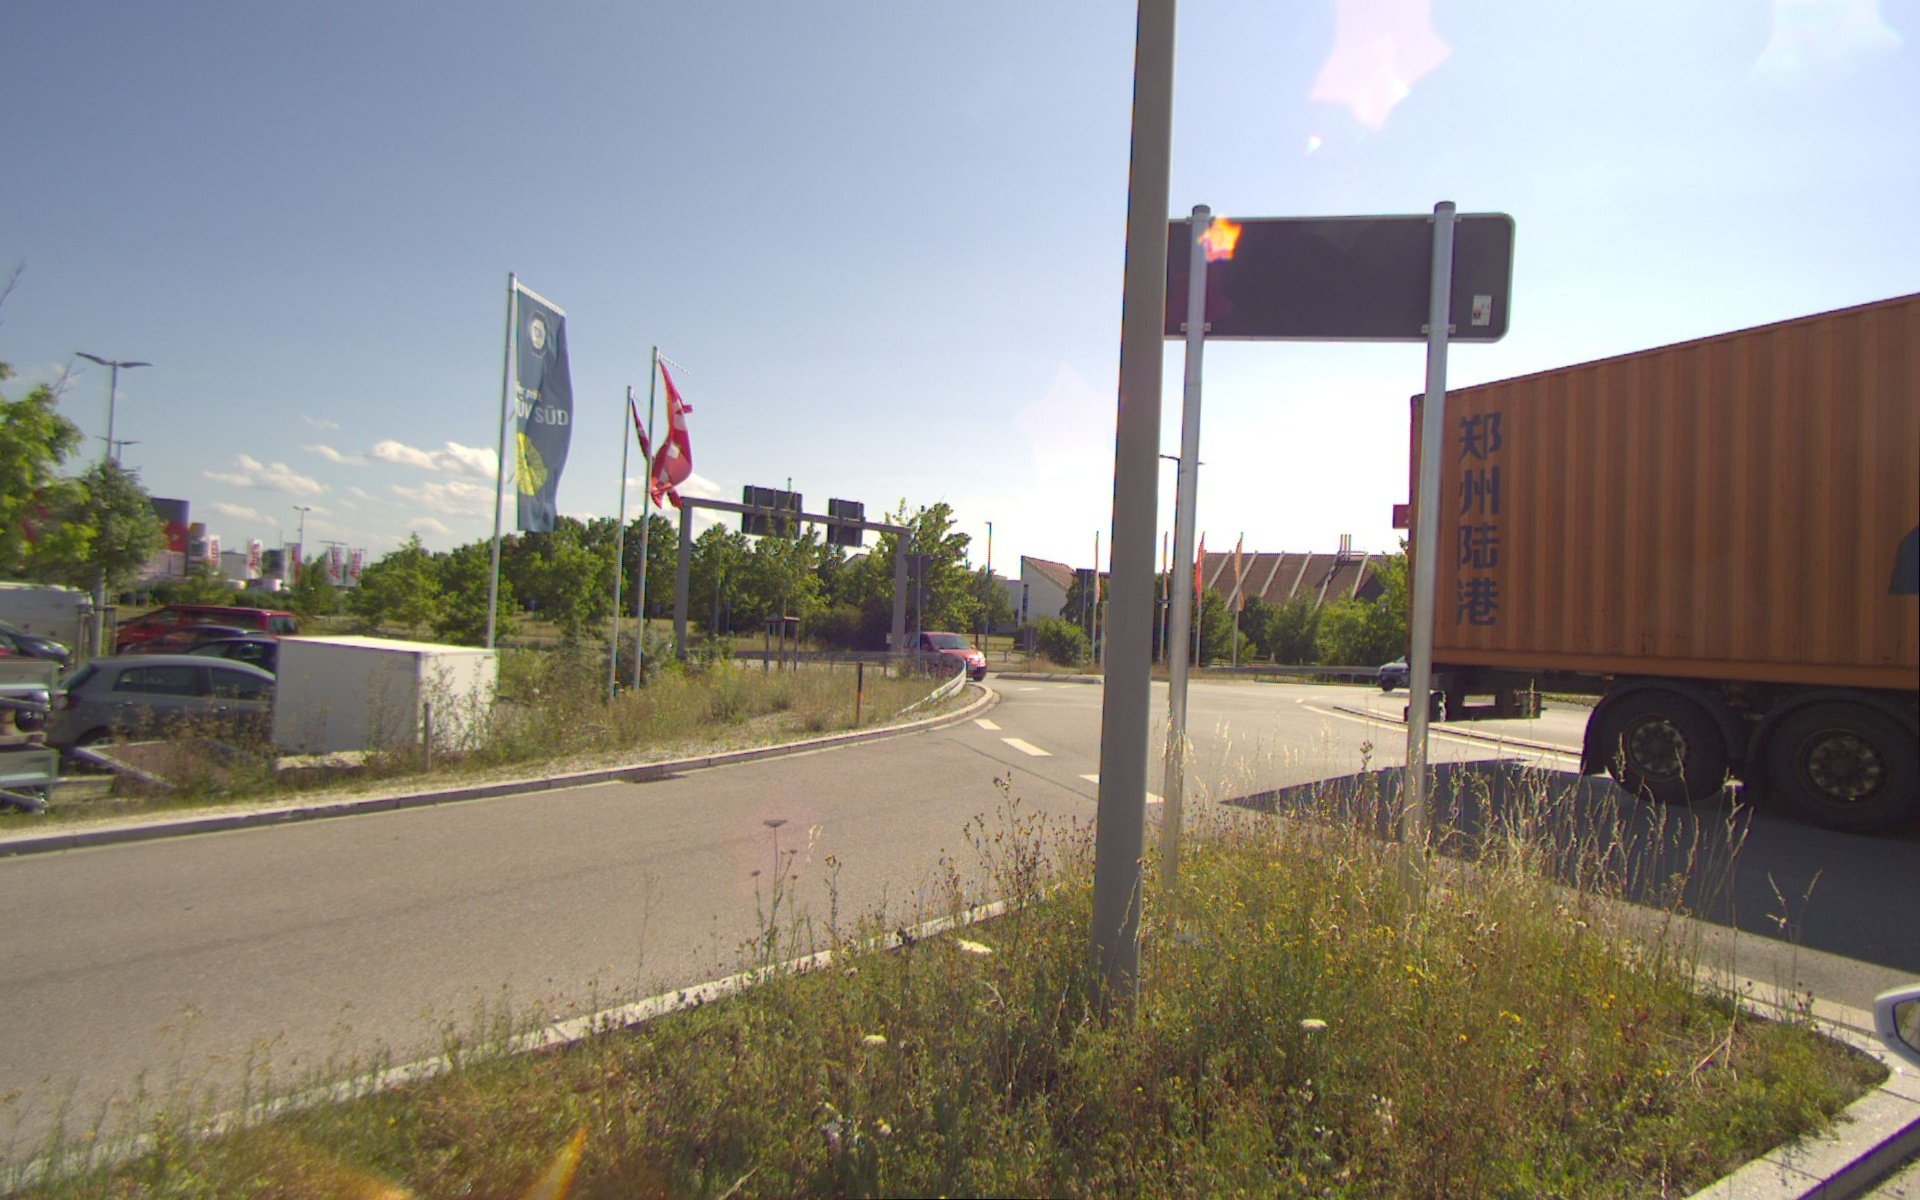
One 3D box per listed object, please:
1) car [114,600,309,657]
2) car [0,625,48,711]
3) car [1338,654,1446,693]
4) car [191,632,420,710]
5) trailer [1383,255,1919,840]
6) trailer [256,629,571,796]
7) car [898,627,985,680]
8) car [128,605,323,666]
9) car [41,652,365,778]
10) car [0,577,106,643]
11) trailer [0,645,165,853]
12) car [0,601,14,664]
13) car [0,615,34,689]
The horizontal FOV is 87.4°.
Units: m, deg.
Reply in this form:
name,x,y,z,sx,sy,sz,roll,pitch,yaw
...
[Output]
name,x,y,z,sx,sy,sz,roll,pitch,yaw
car,-22.573,0.852,30.440,4.372,1.483,1.823,3,0,-6
car,-18.195,1.135,17.039,3.971,1.483,1.803,3,-3,-42
car,14.623,2.468,33.947,3.665,1.171,1.464,3,0,-30
car,-15.060,1.617,23.317,3.926,1.483,1.824,4,-2,-6
trailer,8.746,-0.340,6.384,2.529,4.208,12.270,2,-1,-28
trailer,-7.592,1.454,14.033,3.624,1.795,1.808,4,1,19
car,-0.641,1.662,31.826,1.455,1.414,3.688,2,0,-23
car,-20.369,0.960,28.007,3.925,1.483,1.823,3,0,-6
car,-11.327,1.637,15.239,3.713,1.572,1.724,3,0,-40
car,-30.599,0.296,32.619,4.316,2.040,1.881,3,0,-41
trailer,-10.635,1.447,10.593,3.623,1.795,1.808,2,0,19
car,-25.311,0.715,23.803,3.964,1.483,1.806,3,0,-37
car,-22.028,1.049,20.797,3.964,1.483,1.806,3,0,-37
